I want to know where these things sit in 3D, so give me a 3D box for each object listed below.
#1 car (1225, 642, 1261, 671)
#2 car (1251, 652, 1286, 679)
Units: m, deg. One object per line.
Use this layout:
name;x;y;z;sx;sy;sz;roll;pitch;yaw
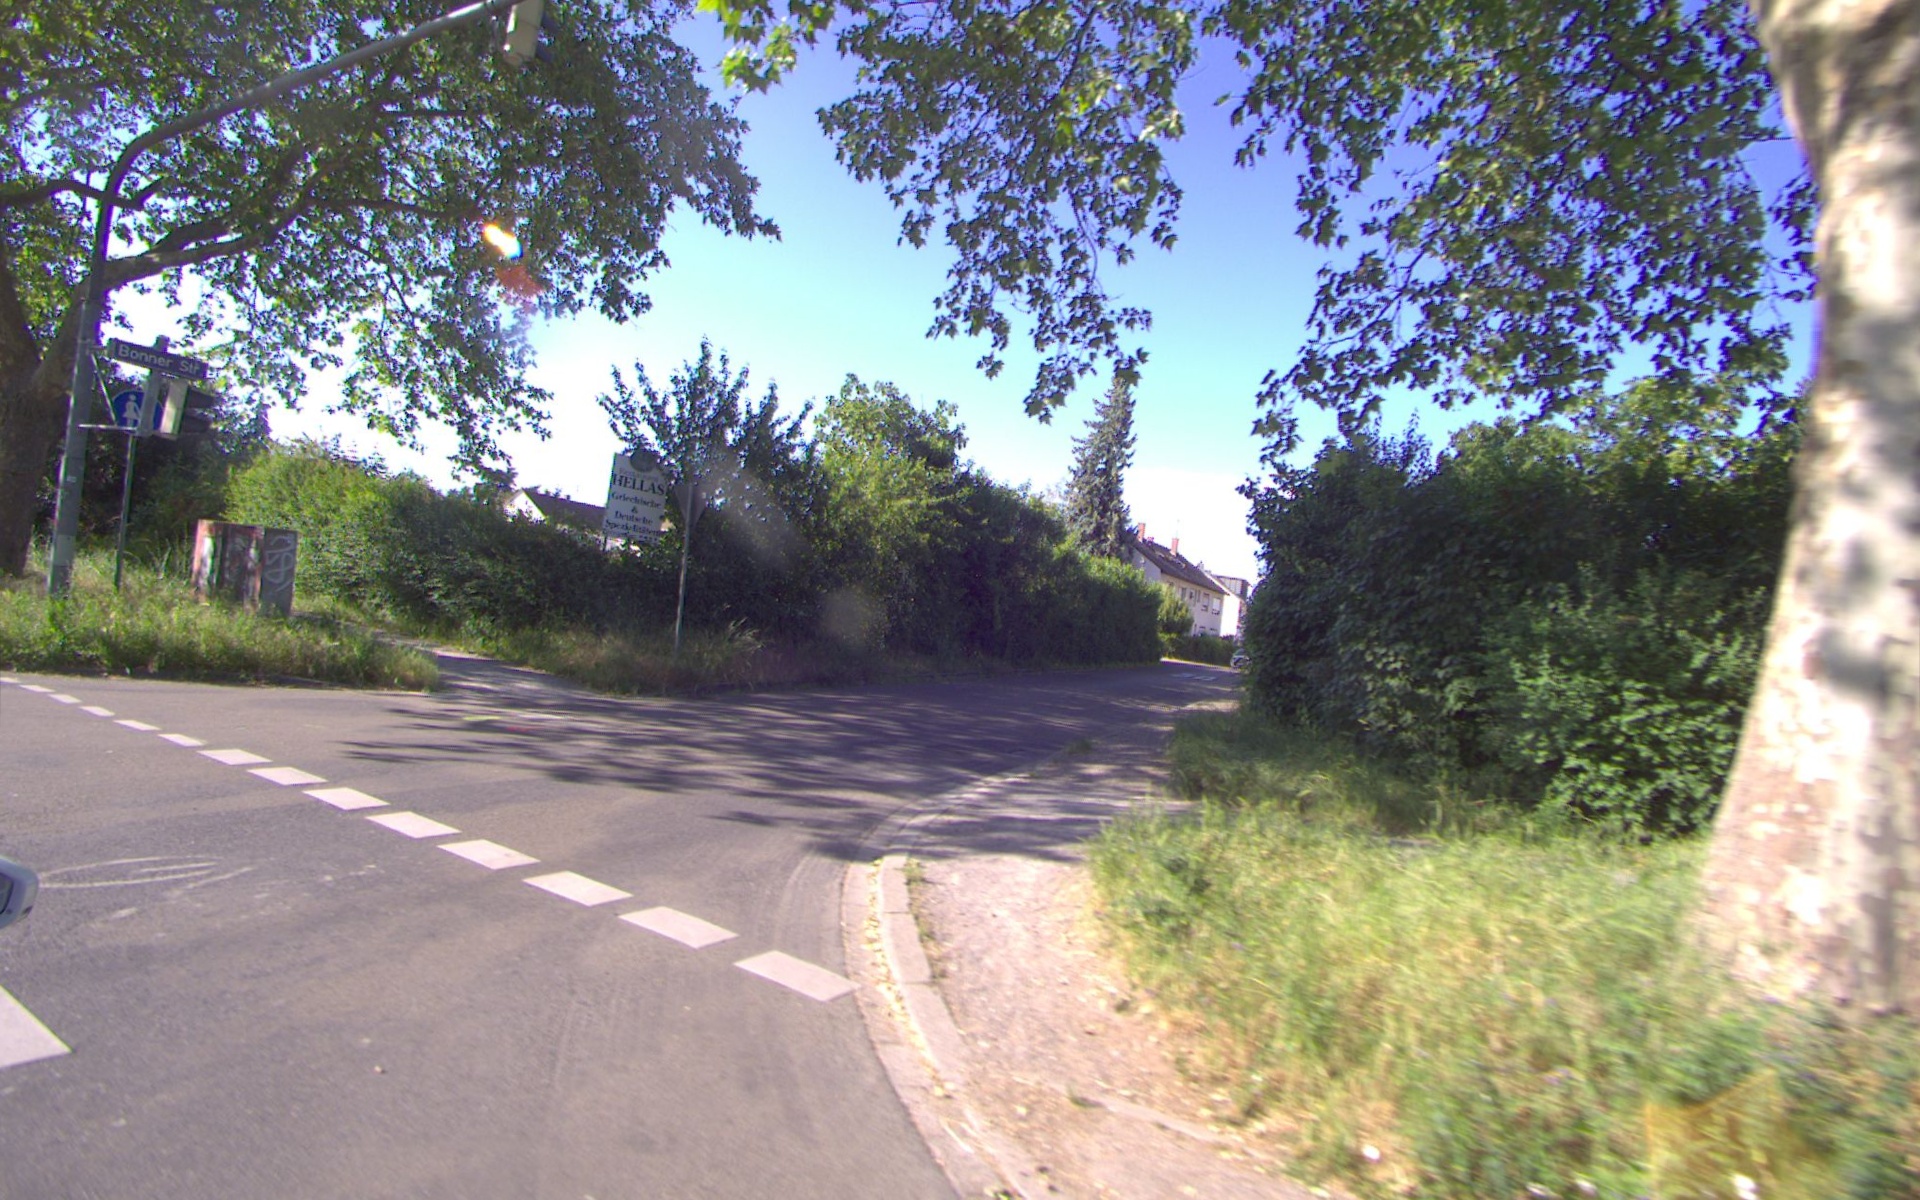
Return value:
car;19.374;3.896;68.790;1.653;1.601;4.002;6;-3;24
car;23.037;4.929;75.057;1.908;1.628;4.003;6;-3;24
